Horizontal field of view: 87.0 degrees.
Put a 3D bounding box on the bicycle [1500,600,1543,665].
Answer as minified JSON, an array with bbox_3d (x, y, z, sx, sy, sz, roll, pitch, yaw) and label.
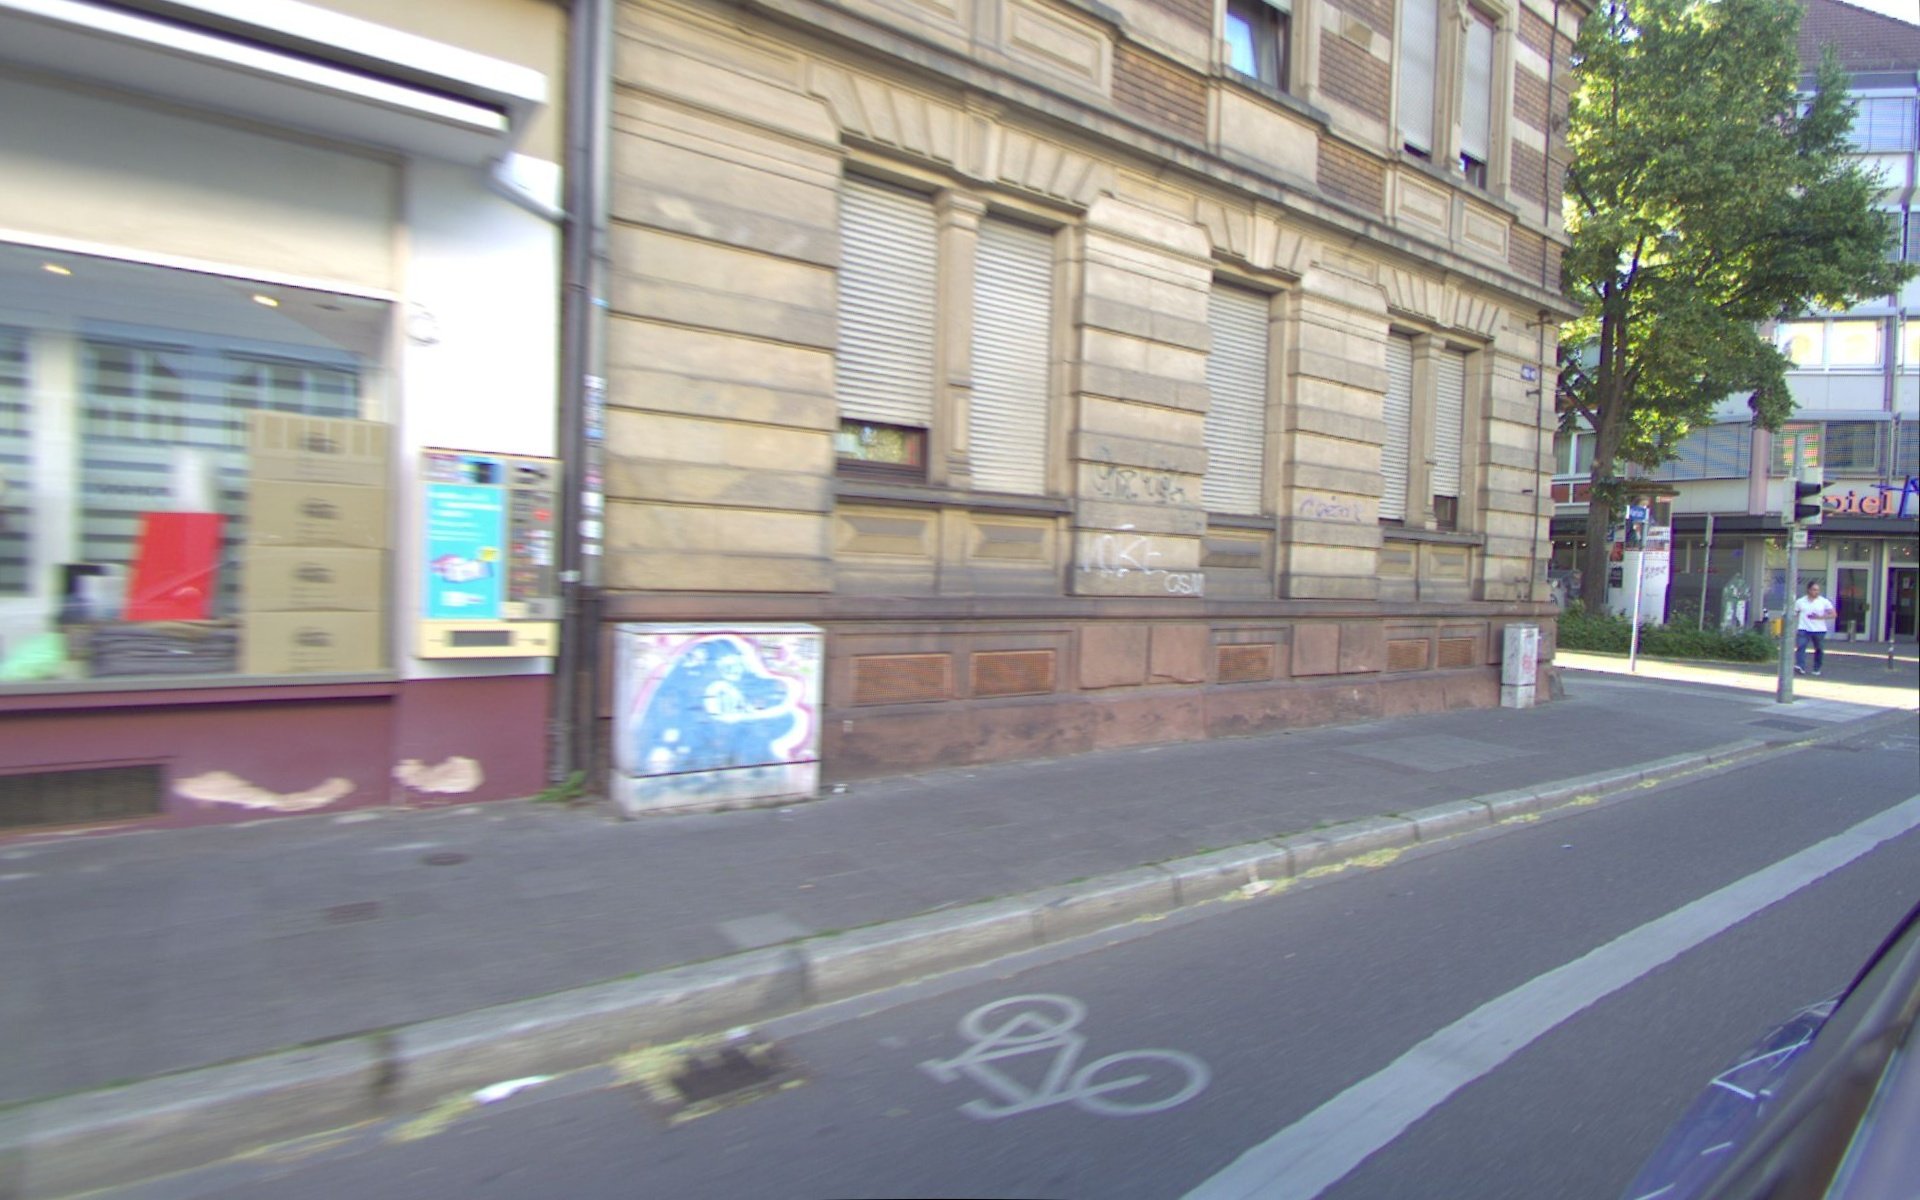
[{"bbox_3d":[9.778,0.539,17.604,0.416,1.037,1.883,2,1,36],"label":"bicycle"}]

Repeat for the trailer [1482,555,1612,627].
[{"bbox_3d":[16.704,-0.281,28.821,3.119,1.906,1.584,0,4,-24],"label":"trailer"}]

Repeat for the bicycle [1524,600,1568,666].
[{"bbox_3d":[10.010,0.537,17.264,0.450,1.037,1.883,2,1,36],"label":"bicycle"}]

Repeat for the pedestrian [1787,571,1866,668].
[{"bbox_3d":[15.732,0.356,18.378,1.013,1.686,0.786,3,0,-34],"label":"pedestrian"}]

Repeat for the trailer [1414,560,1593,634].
[{"bbox_3d":[13.989,-0.103,26.074,3.850,1.753,1.978,0,3,-21],"label":"trailer"}]
